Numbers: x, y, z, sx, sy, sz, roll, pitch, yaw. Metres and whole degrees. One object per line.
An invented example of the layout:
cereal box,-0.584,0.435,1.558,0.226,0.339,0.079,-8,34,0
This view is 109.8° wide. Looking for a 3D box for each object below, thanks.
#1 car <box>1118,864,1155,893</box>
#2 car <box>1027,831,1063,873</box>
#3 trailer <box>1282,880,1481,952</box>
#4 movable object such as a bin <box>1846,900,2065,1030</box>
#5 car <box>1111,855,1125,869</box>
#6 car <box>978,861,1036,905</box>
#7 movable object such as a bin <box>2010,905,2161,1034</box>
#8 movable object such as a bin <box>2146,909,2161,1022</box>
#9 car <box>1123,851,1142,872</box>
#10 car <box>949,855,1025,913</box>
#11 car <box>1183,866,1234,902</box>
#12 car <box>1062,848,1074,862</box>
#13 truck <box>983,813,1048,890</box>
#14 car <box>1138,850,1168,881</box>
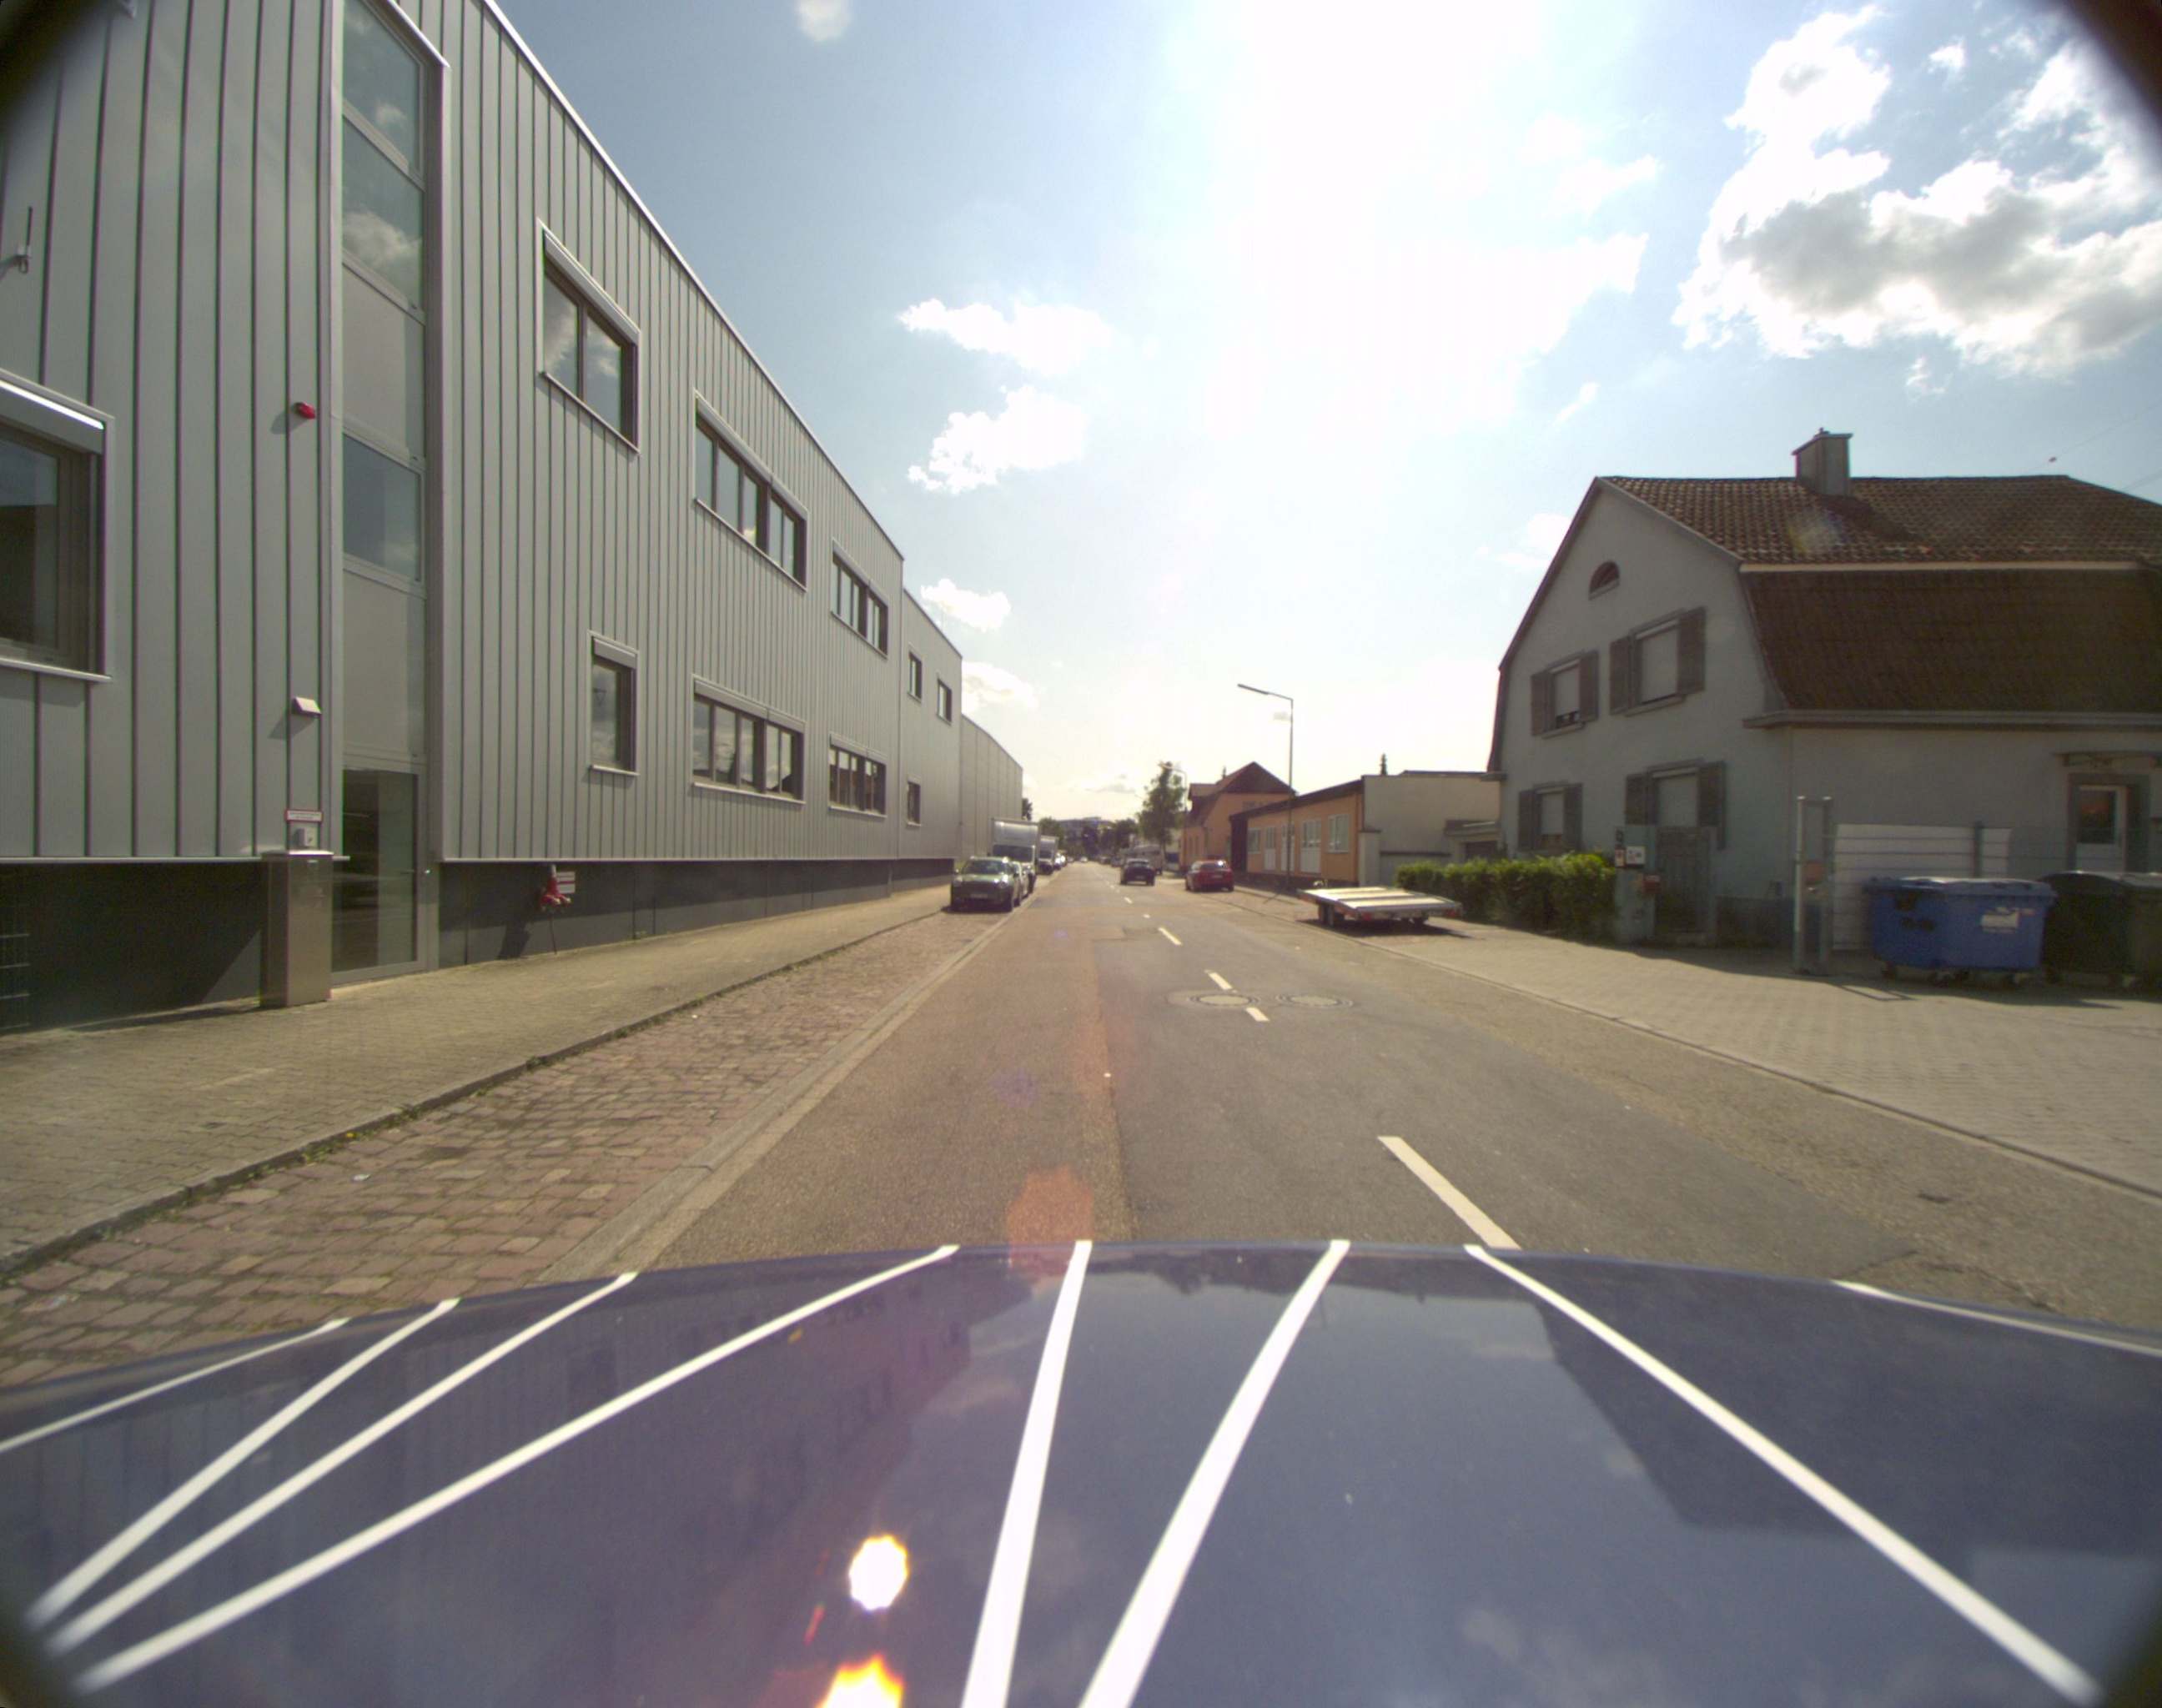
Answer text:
car,3.044,1.328,42.538,1.739,1.433,4.000,2,0,0
car,-3.091,-0.205,66.734,2.418,3.269,6.898,6,0,0
trailer,6.692,1.321,17.926,2.457,1.157,6.053,-1,0,2
movable object such as a bin,10.722,1.326,9.385,1.319,1.419,1.188,1,0,-2
car,5.338,1.178,110.026,1.658,1.860,3.926,-2,0,0
car,-2.747,1.040,28.908,1.714,1.425,4.257,-2,0,0
movable object such as a bin,12.852,1.388,9.395,1.319,1.419,1.151,1,0,-2
movable object such as a bin,14.331,1.432,9.322,1.089,1.435,1.004,1,0,0
car,6.417,0.919,94.929,1.998,2.556,5.824,-2,0,0
car,-2.726,0.830,22.882,1.714,1.502,4.115,-2,0,0
car,6.062,1.384,36.553,1.714,1.459,4.630,-2,0,1
car,-2.210,0.174,129.000,1.828,2.365,4.109,-2,0,0
truck,-2.966,-0.105,36.256,2.607,3.207,8.075,-2,0,-2
car,6.402,0.981,68.036,2.079,2.527,5.824,-2,0,0
